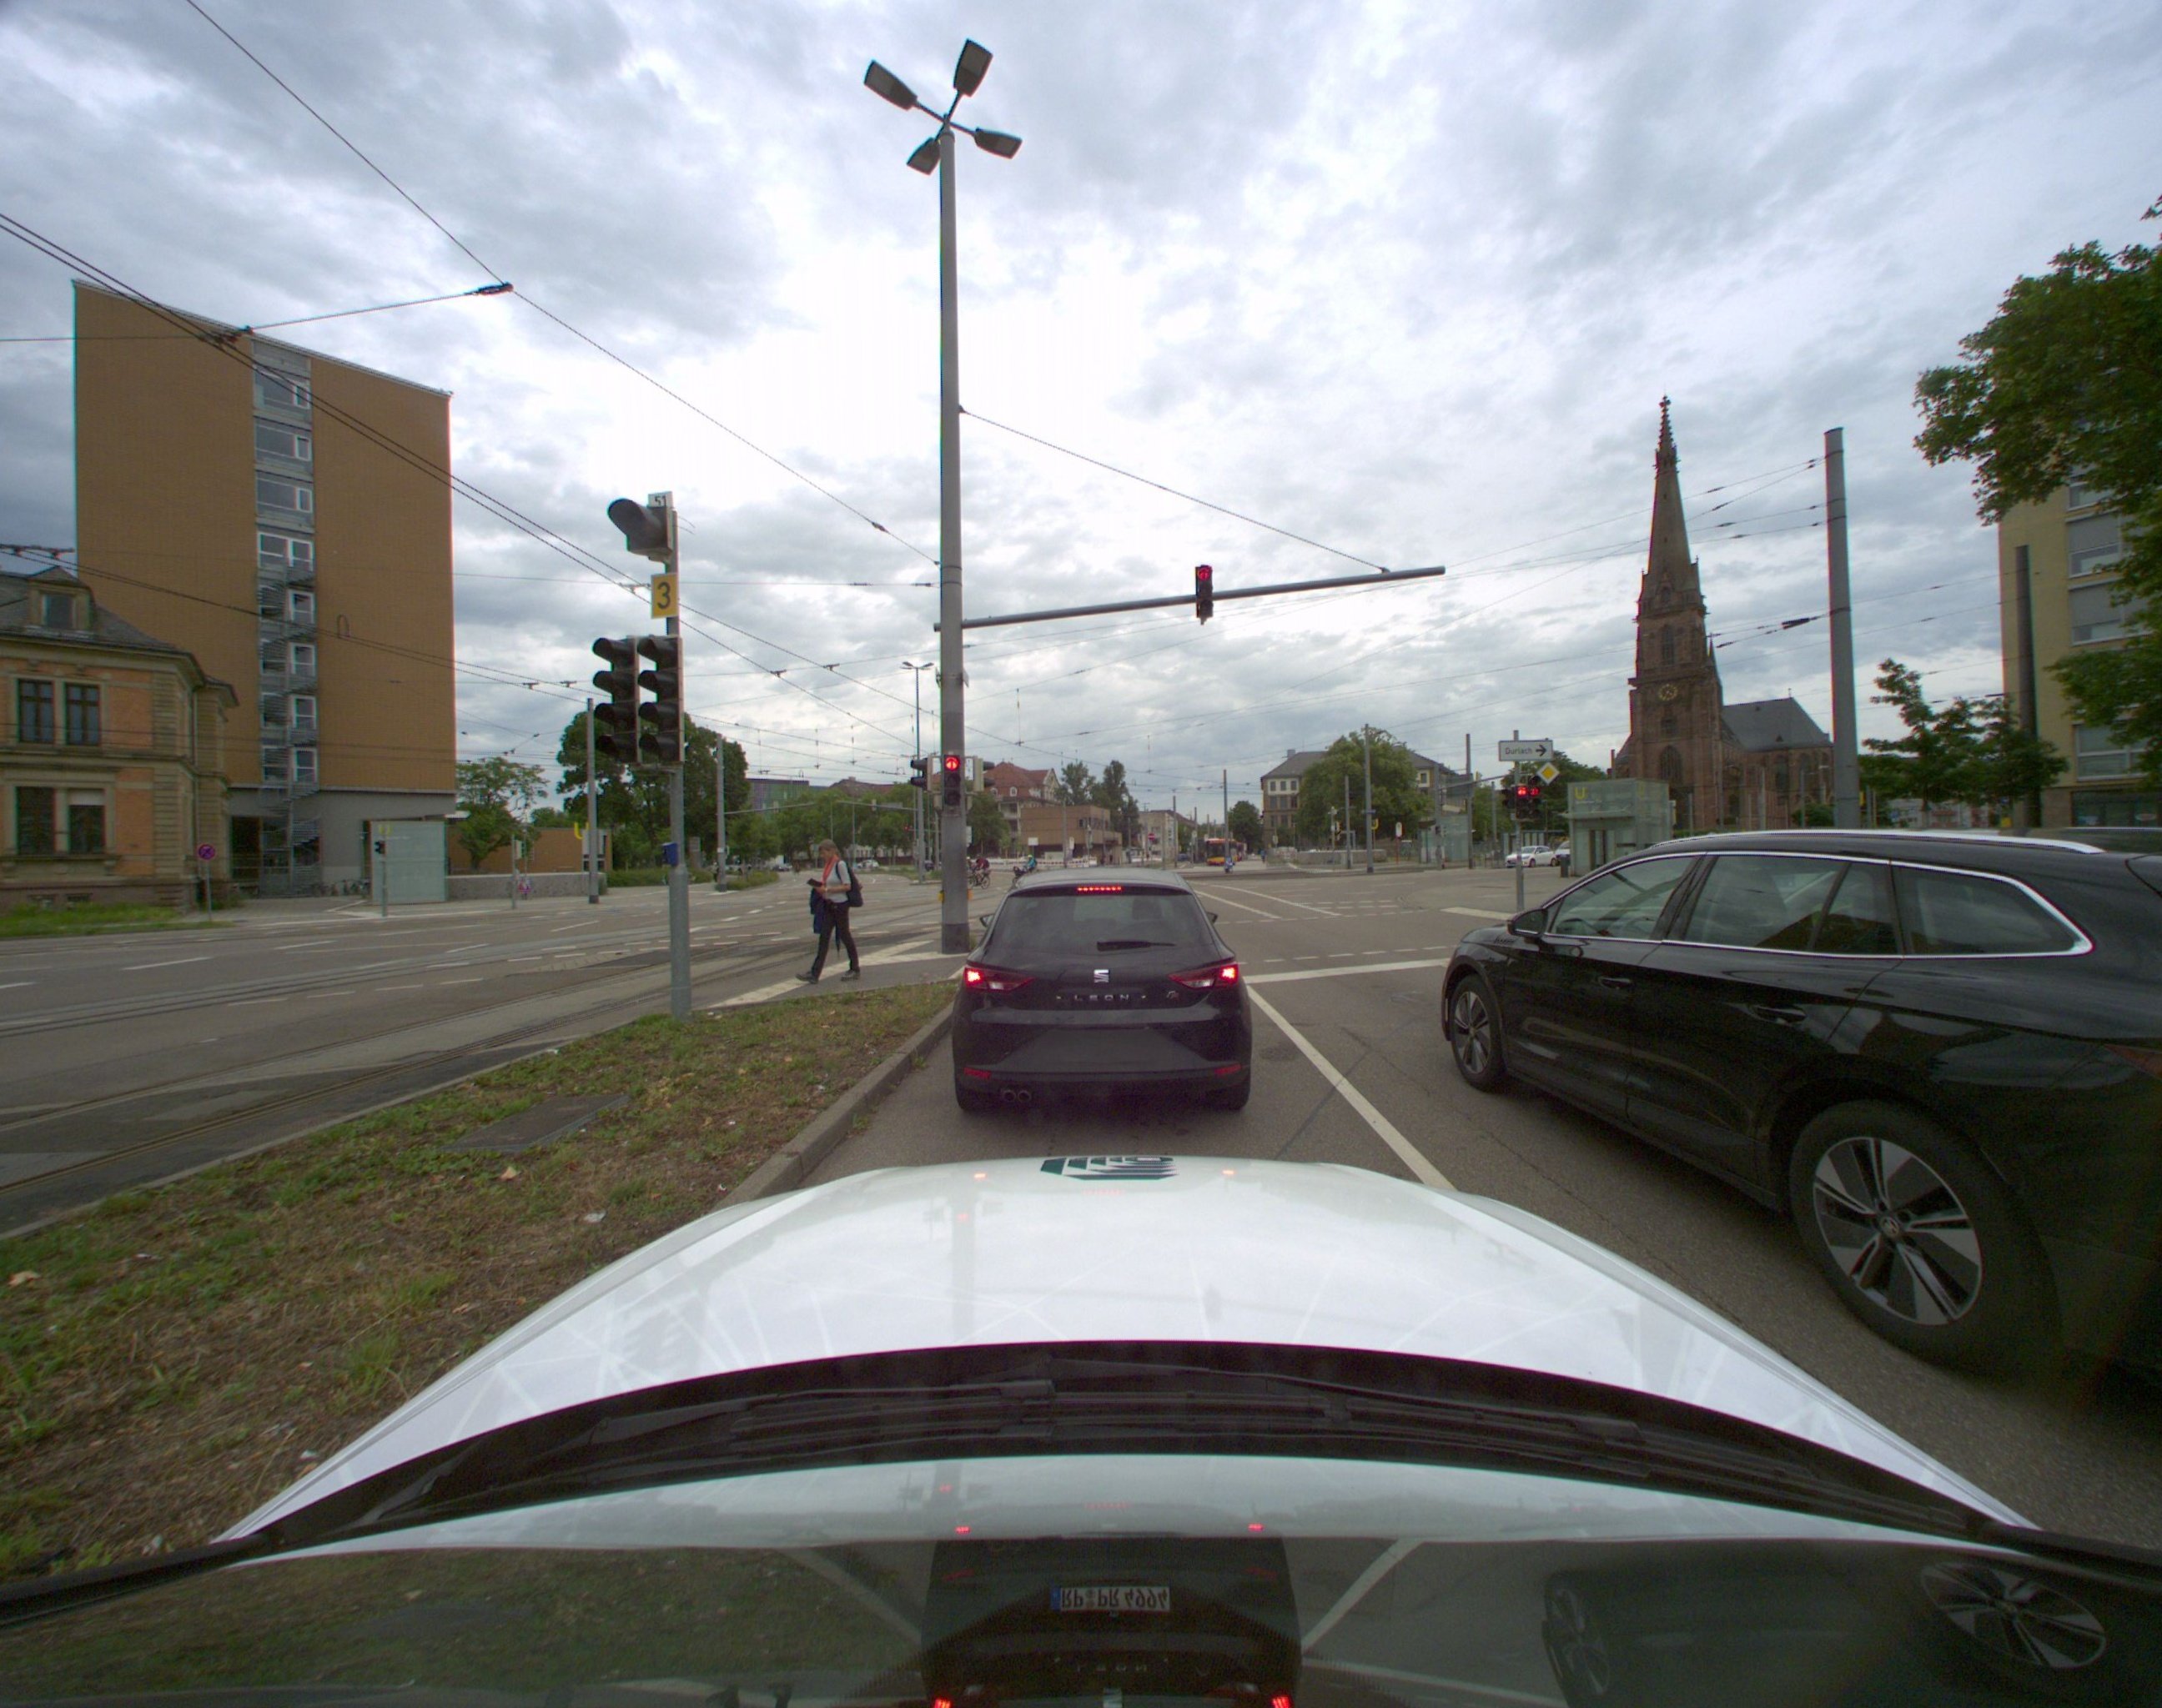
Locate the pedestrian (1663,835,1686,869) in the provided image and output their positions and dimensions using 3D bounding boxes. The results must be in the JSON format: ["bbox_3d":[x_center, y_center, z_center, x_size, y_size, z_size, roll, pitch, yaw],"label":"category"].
[{"bbox_3d":[29.781,-0.100,40.859,0.875,1.638,0.631,-1,0,-32],"label":"pedestrian"}]

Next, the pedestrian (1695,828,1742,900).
[{"bbox_3d":[17.529,0.258,22.394,0.878,1.930,1.023,-1,0,43],"label":"pedestrian"}]

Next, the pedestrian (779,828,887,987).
[{"bbox_3d":[-3.161,0.639,10.407,1.110,1.907,0.727,0,-1,-41],"label":"pedestrian"}]

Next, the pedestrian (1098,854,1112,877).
[{"bbox_3d":[2.058,0.963,70.130,0.692,1.934,1.037,-2,0,40],"label":"pedestrian"}]

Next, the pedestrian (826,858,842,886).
[{"bbox_3d":[-18.078,1.340,59.598,1.023,2.013,0.841,-1,0,-18],"label":"pedestrian"}]

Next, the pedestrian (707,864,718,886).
[{"bbox_3d":[-34.658,1.973,76.659,0.799,1.981,0.872,-1,-2,-33],"label":"pedestrian"}]

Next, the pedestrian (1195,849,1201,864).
[{"bbox_3d":[15.162,0.339,105.470,0.618,1.918,0.711,-2,0,5],"label":"pedestrian"}]

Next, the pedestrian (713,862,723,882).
[{"bbox_3d":[-37.925,1.890,85.040,0.799,1.981,0.872,-1,-2,-33],"label":"pedestrian"}]

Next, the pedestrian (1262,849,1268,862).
[{"bbox_3d":[30.453,0.229,134.809,0.659,2.013,0.692,-1,0,2],"label":"pedestrian"}]

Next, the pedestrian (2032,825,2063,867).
[{"bbox_3d":[37.897,-0.314,31.931,0.875,1.638,0.631,-1,0,-31],"label":"pedestrian"}]

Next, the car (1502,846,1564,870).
[{"bbox_3d":[30.417,0.273,54.801,4.011,1.464,1.758,-1,-2,-30],"label":"car"}]

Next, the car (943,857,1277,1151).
[{"bbox_3d":[0.091,0.774,6.106,1.700,1.449,3.809,-1,0,-2],"label":"car"}]

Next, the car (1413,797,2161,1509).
[{"bbox_3d":[3.324,0.654,3.769,1.771,1.597,4.510,-1,0,1],"label":"car"}]

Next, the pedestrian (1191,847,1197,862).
[{"bbox_3d":[14.418,0.069,103.913,0.617,1.918,0.701,-2,0,11],"label":"pedestrian"}]

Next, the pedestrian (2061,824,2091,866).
[{"bbox_3d":[39.751,-0.354,32.545,0.875,1.638,0.631,-1,0,-32],"label":"pedestrian"}]

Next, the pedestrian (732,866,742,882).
[{"bbox_3d":[-44.828,2.592,106.233,0.872,1.981,0.798,-2,-2,11],"label":"pedestrian"}]

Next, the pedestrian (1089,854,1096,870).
[{"bbox_3d":[1.350,0.939,96.727,0.704,1.918,0.625,-2,0,9],"label":"pedestrian"}]

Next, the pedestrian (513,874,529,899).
[{"bbox_3d":[-30.736,1.756,44.708,0.492,1.336,0.577,-2,-1,41],"label":"pedestrian"}]

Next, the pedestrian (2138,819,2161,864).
[{"bbox_3d":[39.991,-0.466,30.335,0.875,1.638,0.631,-1,0,-31],"label":"pedestrian"}]

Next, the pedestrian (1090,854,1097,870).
[{"bbox_3d":[1.507,0.952,97.520,0.704,1.918,0.625,-2,0,9],"label":"pedestrian"}]

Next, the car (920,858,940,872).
[{"bbox_3d":[-19.568,1.378,105.421,2.000,1.684,3.973,-1,-1,-20],"label":"car"}]

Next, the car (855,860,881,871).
[{"bbox_3d":[-37.351,1.956,142.541,3.965,1.772,1.720,-2,0,7],"label":"car"}]

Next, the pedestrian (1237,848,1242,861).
[{"bbox_3d":[24.156,0.122,123.980,0.659,2.013,0.692,-1,0,2],"label":"pedestrian"}]

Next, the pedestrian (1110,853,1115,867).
[{"bbox_3d":[4.387,0.855,113.584,0.618,1.918,0.711,-2,0,5],"label":"pedestrian"}]

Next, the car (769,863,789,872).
[{"bbox_3d":[-53.708,2.385,144.770,1.792,1.464,3.950,-1,0,-45],"label":"car"}]

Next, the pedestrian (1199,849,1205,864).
[{"bbox_3d":[15.541,0.341,104.436,0.617,1.918,0.701,-2,0,11],"label":"pedestrian"}]

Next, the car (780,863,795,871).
[{"bbox_3d":[-61.356,2.703,170.198,1.791,1.464,3.953,-1,0,-40],"label":"car"}]

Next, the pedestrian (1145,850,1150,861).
[{"bbox_3d":[11.284,0.296,137.708,0.615,1.918,0.715,-3,-2,27],"label":"pedestrian"}]

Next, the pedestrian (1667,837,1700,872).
[{"bbox_3d":[31.188,0.031,42.156,0.950,1.797,1.076,-1,-2,-33],"label":"pedestrian"}]

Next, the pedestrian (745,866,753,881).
[{"bbox_3d":[-42.946,2.513,105.354,0.880,1.981,0.791,-1,-2,-17],"label":"pedestrian"}]
